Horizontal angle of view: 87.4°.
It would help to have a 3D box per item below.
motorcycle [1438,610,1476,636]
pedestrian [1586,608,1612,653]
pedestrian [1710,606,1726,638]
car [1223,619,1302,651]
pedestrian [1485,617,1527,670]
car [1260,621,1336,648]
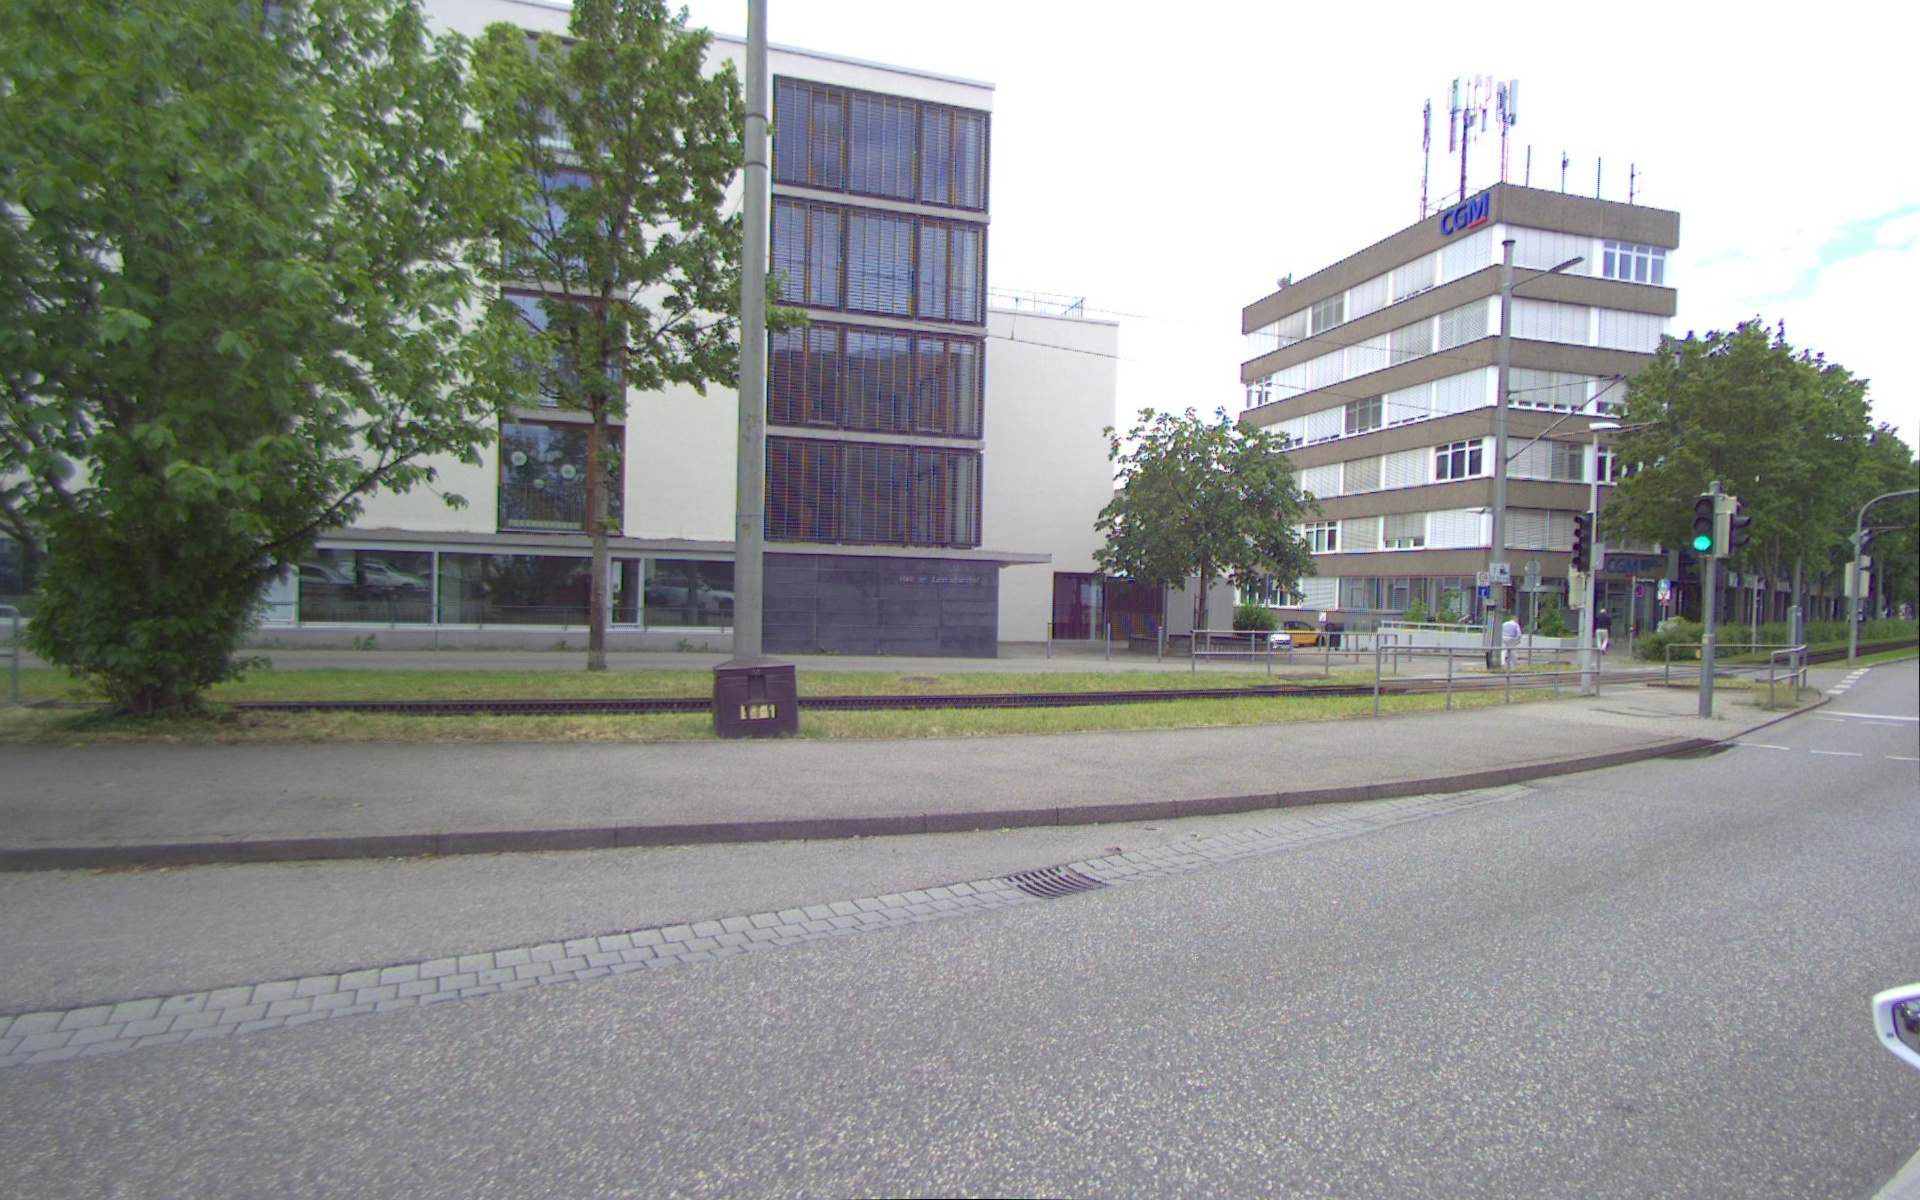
[{"bbox_3d":[24.358,1.129,49.220,0.558,1.215,1.879,1,0,-14],"label":"motorcycle"},{"bbox_3d":[24.920,1.200,39.174,0.677,1.728,0.682,1,-1,-39],"label":"pedestrian"},{"bbox_3d":[49.102,1.399,65.070,0.566,2.040,0.675,1,0,-42],"label":"pedestrian"},{"bbox_3d":[13.685,1.575,45.676,1.614,1.377,3.989,1,-1,-14],"label":"car"},{"bbox_3d":[16.442,1.309,30.234,0.989,1.547,0.839,1,-1,-43],"label":"pedestrian"},{"bbox_3d":[19.171,1.945,56.954,3.941,1.444,1.722,2,-1,-21],"label":"car"}]
